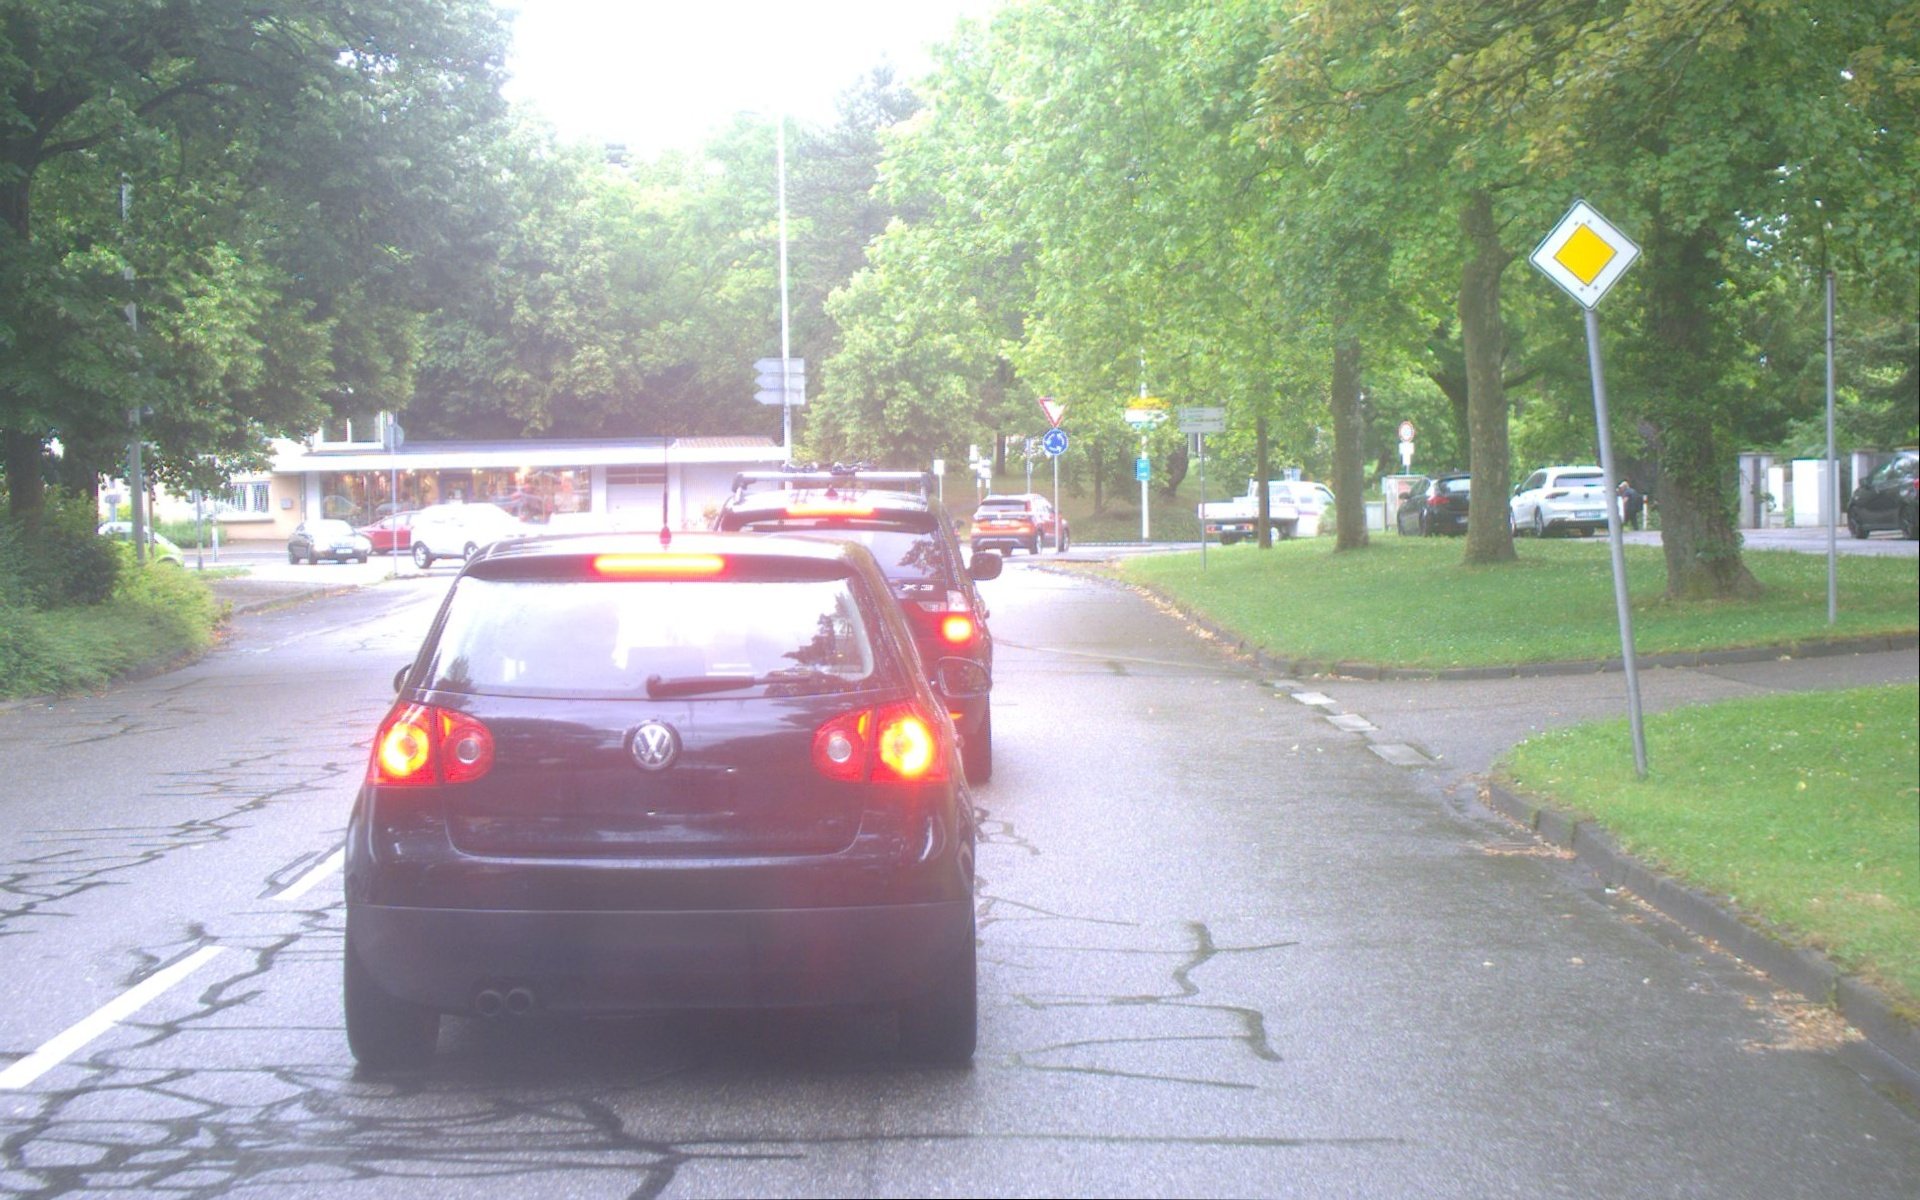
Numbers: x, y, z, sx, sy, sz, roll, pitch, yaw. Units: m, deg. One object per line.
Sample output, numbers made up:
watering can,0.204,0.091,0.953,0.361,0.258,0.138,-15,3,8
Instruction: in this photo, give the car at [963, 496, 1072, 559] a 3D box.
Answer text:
car,1.497,-1.878,88.035,1.708,1.508,3.670,-1,2,19

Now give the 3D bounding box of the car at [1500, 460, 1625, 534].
car,12.638,-2.182,72.325,1.803,1.401,4.001,-3,2,-1

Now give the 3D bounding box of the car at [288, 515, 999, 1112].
car,-0.817,0.502,10.597,1.798,1.510,3.754,0,1,0

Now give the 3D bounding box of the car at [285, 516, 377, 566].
car,-19.118,-1.774,104.395,1.797,1.388,3.979,-4,2,-24

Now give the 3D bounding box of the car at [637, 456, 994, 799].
car,-0.782,0.100,20.247,1.855,1.778,4.000,-1,1,0

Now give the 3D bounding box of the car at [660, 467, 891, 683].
car,-1.591,-0.253,30.898,1.855,1.778,4.000,-1,1,0

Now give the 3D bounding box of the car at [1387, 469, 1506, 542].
car,10.162,-1.998,72.000,1.803,1.380,4.001,-3,2,-1

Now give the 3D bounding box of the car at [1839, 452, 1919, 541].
car,16.712,-1.819,59.285,1.801,1.406,4.113,-2,3,-3

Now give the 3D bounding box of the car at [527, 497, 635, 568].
car,-8.292,-1.489,74.979,1.607,1.422,4.010,-3,3,-16

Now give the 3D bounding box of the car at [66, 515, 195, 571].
car,-21.485,-1.486,89.103,3.119,1.305,1.540,-2,2,-11

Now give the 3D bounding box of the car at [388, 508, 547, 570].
car,-12.984,-1.613,90.640,3.796,1.612,1.776,0,2,25

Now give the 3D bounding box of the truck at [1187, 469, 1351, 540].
truck,9.278,-2.876,102.817,2.422,1.998,5.139,0,2,39
